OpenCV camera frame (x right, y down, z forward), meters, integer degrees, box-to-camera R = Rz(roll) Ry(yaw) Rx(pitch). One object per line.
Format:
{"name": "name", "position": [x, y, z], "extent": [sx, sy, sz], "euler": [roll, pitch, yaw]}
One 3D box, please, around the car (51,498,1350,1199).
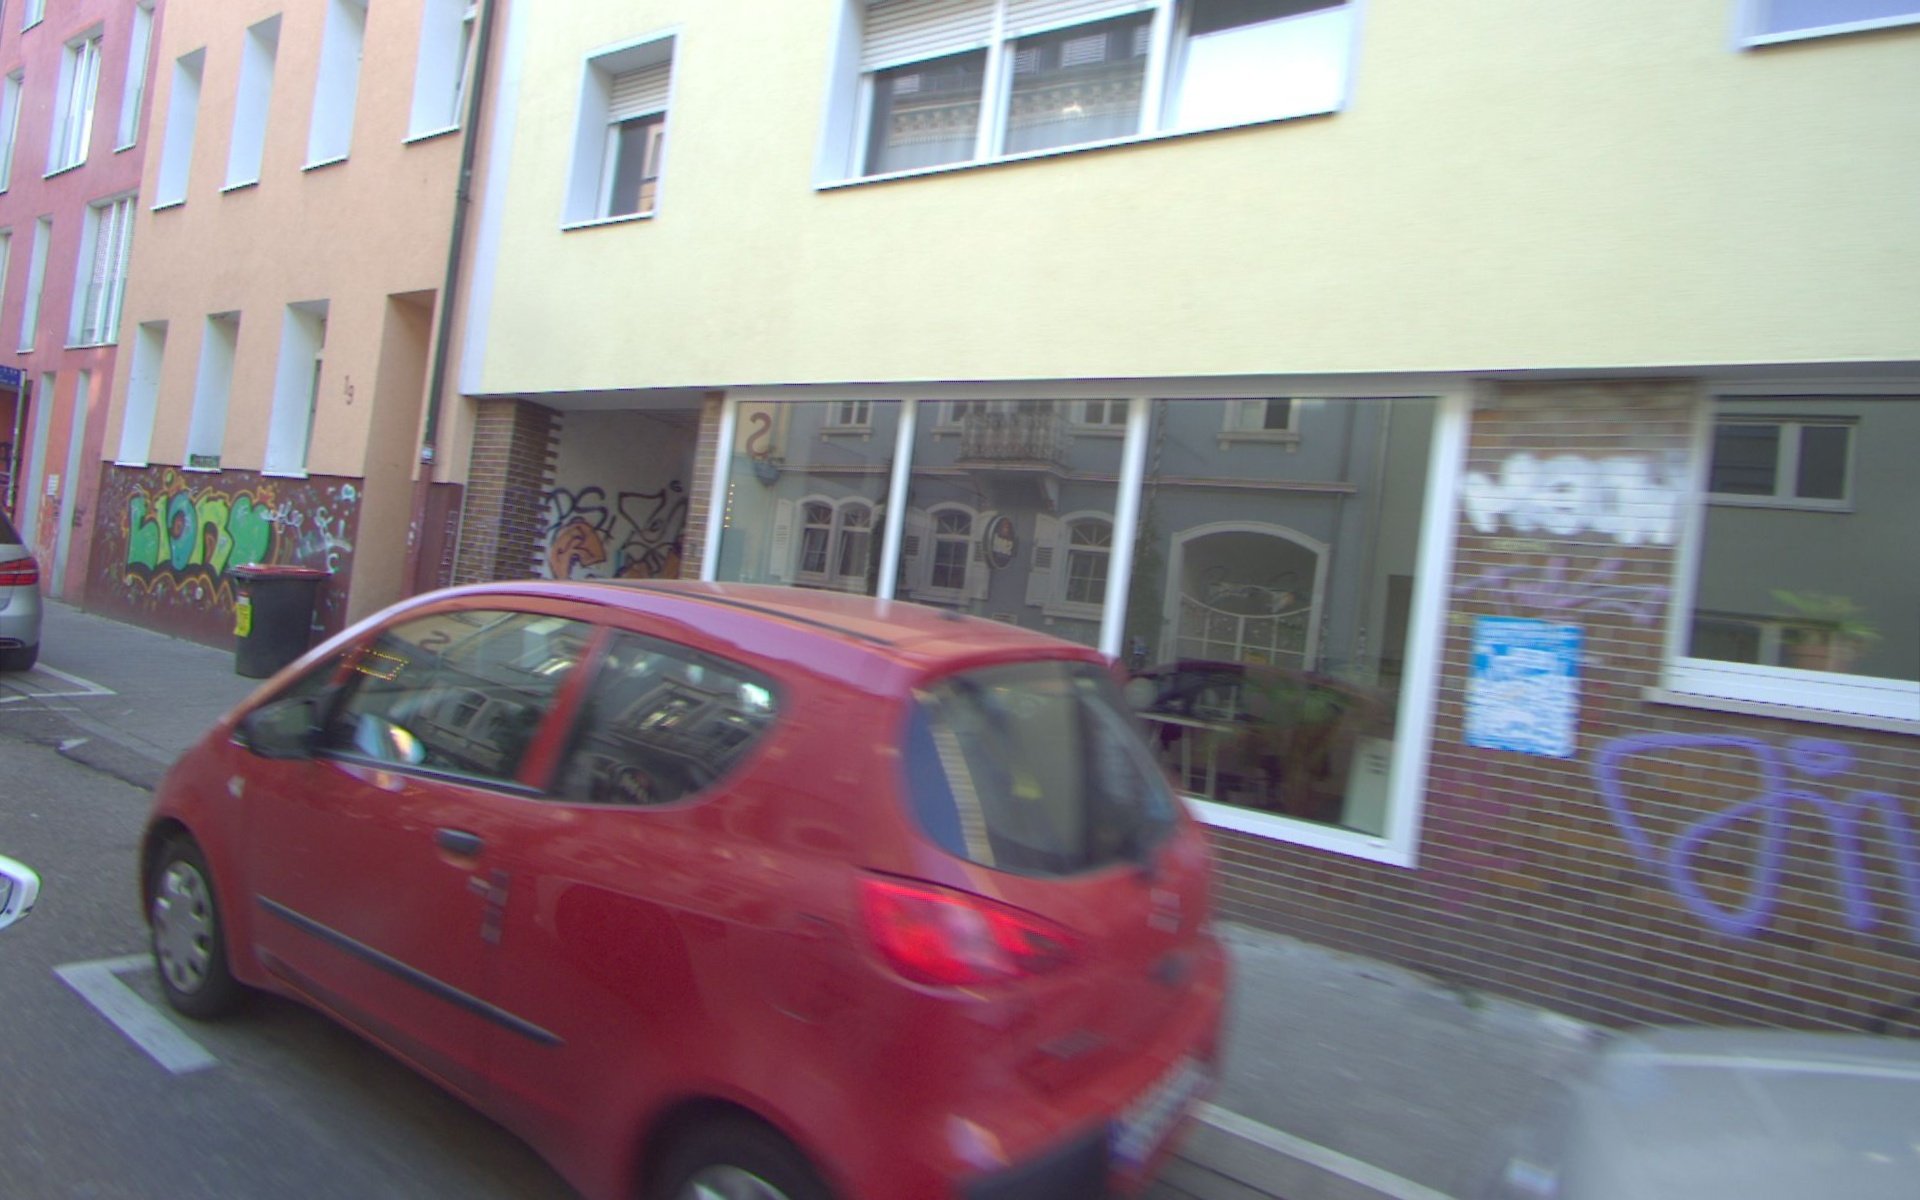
{"name": "car", "position": [-1.065, 0.658, 3.206], "extent": [3.915, 1.542, 1.698], "euler": [7, 0, 33]}

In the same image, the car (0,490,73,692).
{"name": "car", "position": [-9.492, -0.318, 8.579], "extent": [4.103, 1.574, 1.748], "euler": [7, -1, 33]}

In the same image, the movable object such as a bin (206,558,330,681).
{"name": "movable object such as a bin", "position": [-6.633, 0.188, 9.646], "extent": [0.724, 1.071, 0.692], "euler": [7, 2, 32]}

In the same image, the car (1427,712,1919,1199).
{"name": "car", "position": [2.624, 1.159, 0.707], "extent": [4.123, 1.471, 1.690], "euler": [7, 0, 31]}
